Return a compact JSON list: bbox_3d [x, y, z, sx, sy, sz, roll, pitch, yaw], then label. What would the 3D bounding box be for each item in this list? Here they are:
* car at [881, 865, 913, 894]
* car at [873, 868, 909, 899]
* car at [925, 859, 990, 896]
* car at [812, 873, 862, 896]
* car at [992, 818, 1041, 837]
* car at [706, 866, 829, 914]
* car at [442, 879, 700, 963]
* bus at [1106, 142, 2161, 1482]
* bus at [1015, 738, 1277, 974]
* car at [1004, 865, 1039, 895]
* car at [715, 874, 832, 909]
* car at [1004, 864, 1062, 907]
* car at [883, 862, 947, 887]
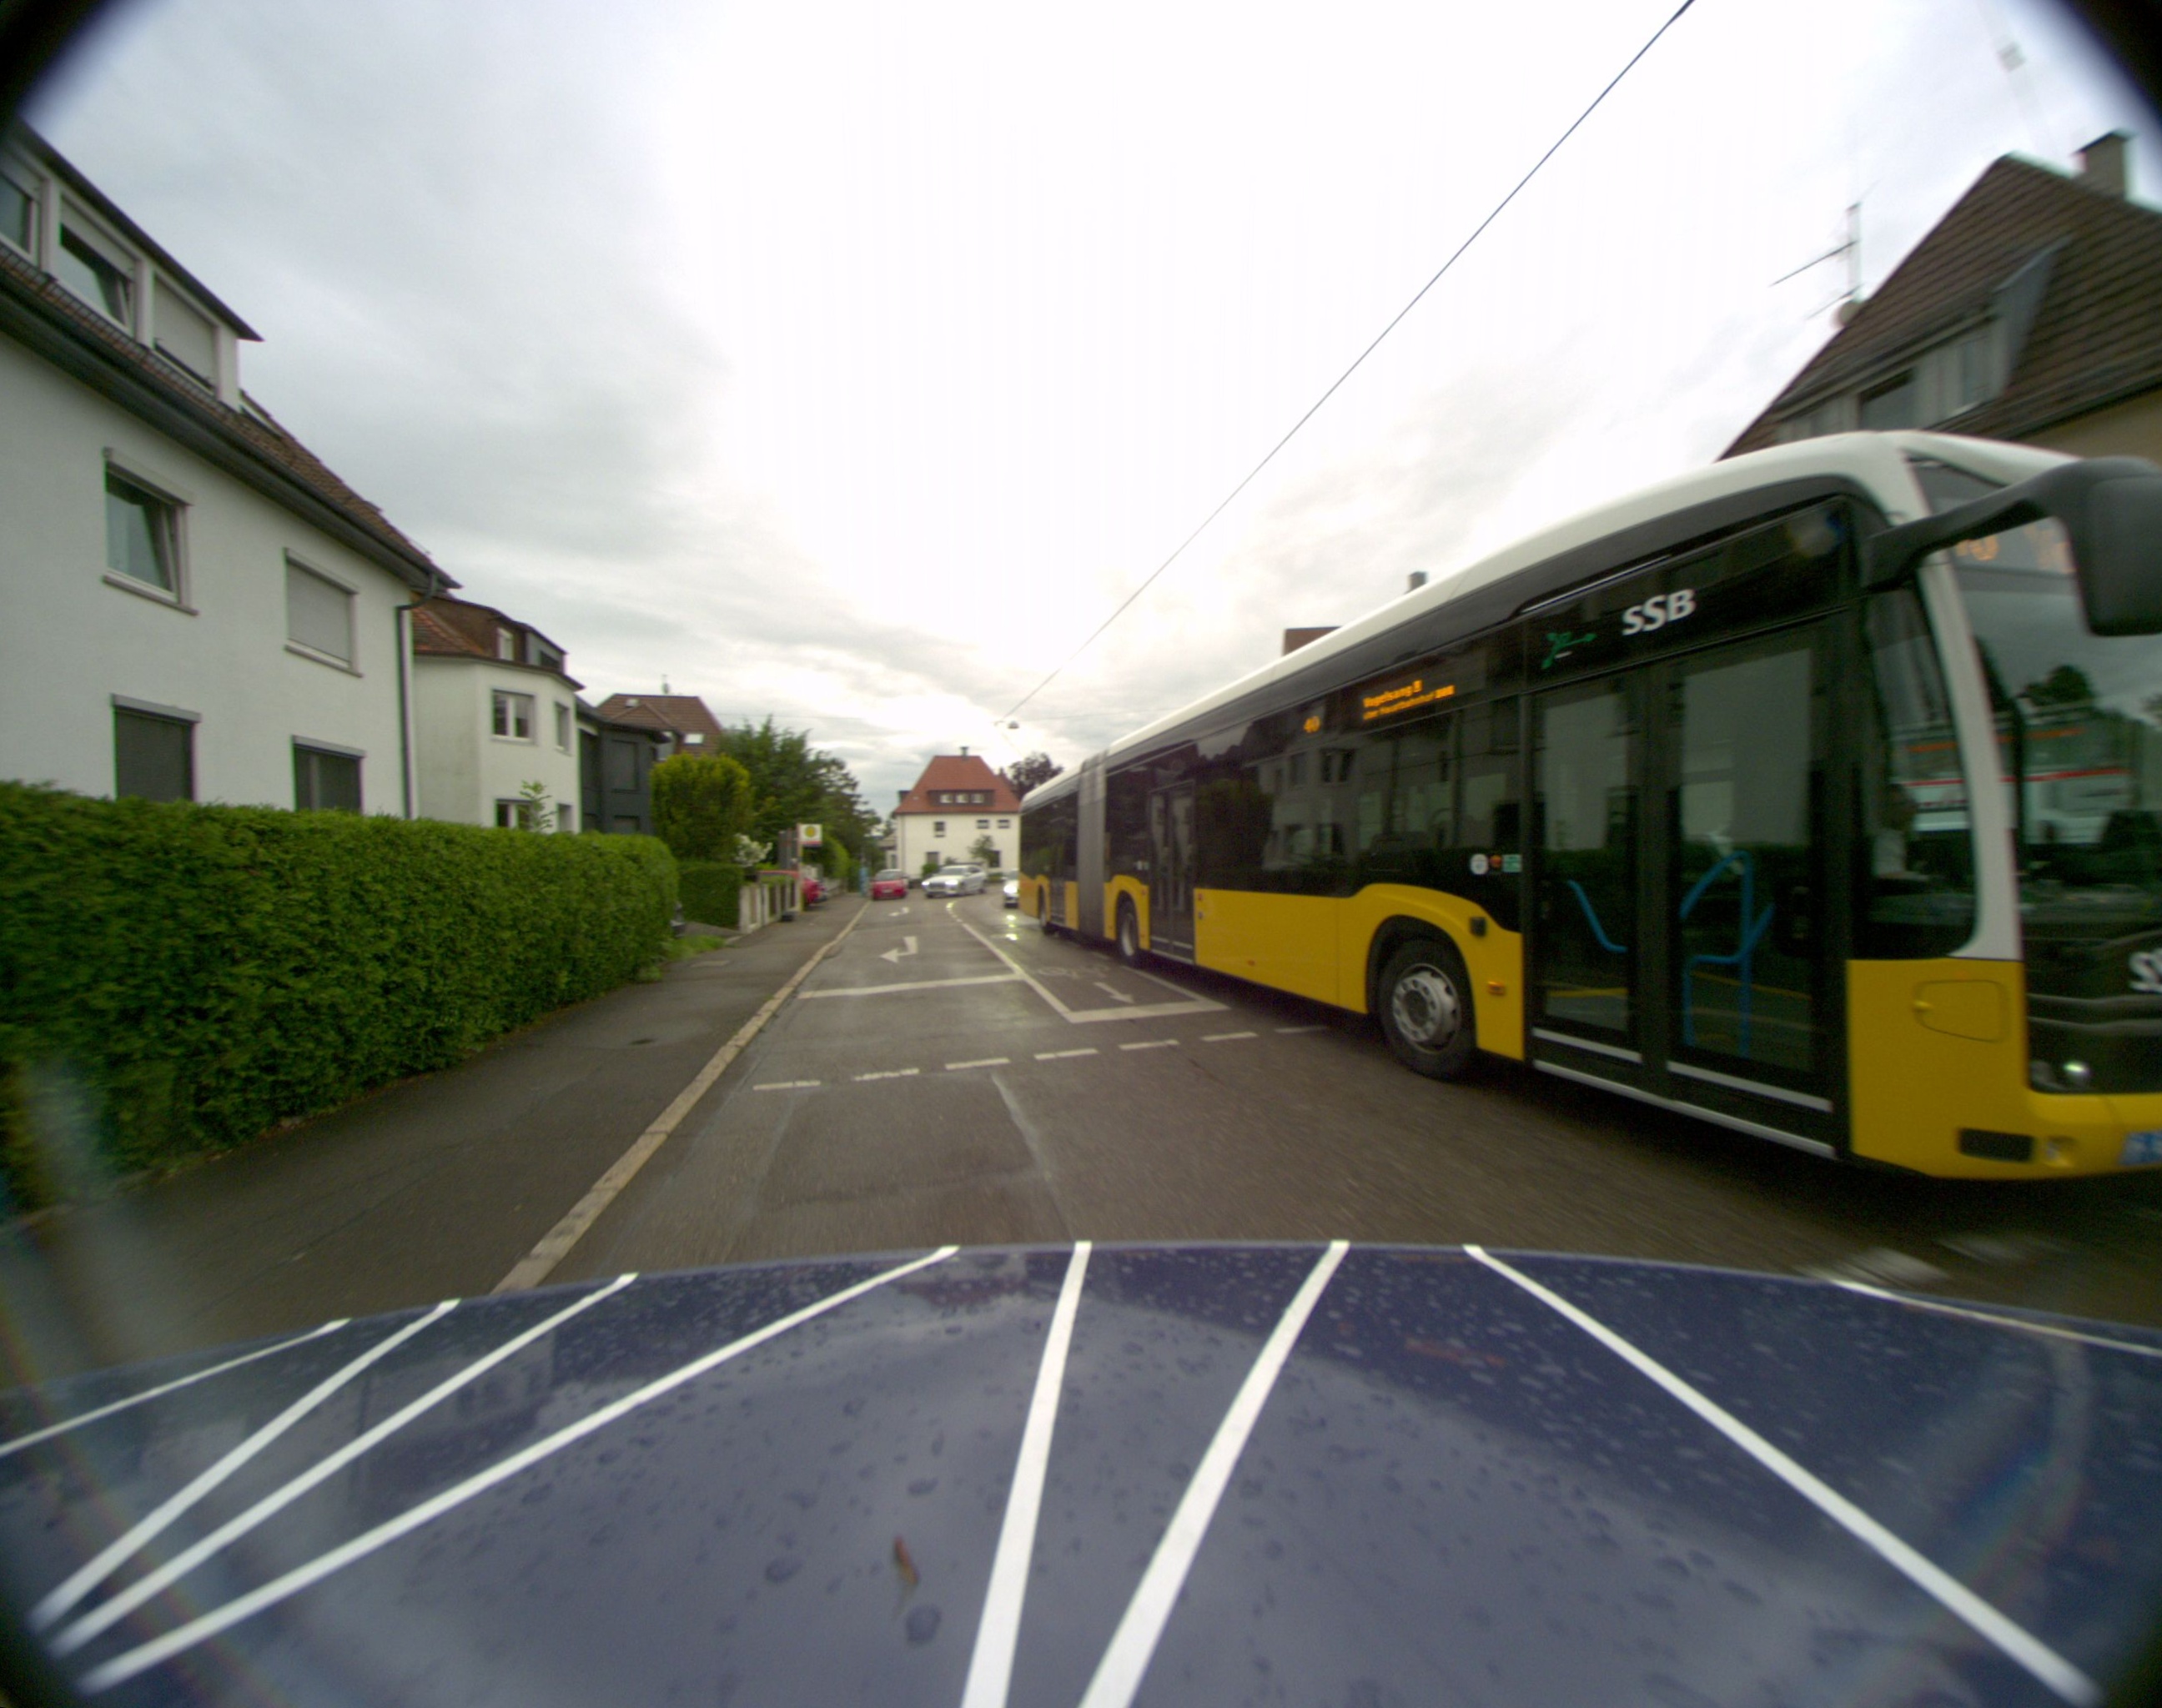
[{"bbox_3d":[-11.451,1.545,47.290,1.750,1.662,4.642,-3,0,-14],"label":"car"},{"bbox_3d":[-10.249,1.550,41.174,1.617,1.528,3.537,-3,0,-11],"label":"car"},{"bbox_3d":[-6.457,1.194,40.152,1.793,1.689,3.895,-3,0,17],"label":"car"},{"bbox_3d":[-21.570,2.687,67.267,4.001,1.849,1.769,-3,0,-14],"label":"car"},{"bbox_3d":[-6.696,-2.778,79.533,4.740,1.799,1.943,2,1,6],"label":"car"},{"bbox_3d":[-12.403,1.366,30.175,4.095,1.740,1.995,0,-1,-41],"label":"car"},{"bbox_3d":[-9.516,1.218,14.487,3.757,1.379,1.615,-1,-2,-14],"label":"car"},{"bbox_3d":[2.961,-0.043,6.620,2.911,3.378,9.029,-1,-1,-15],"label":"bus"},{"bbox_3d":[0.645,0.067,15.400,2.686,3.378,8.671,-1,-1,-13],"label":"bus"},{"bbox_3d":[-3.113,1.332,39.682,1.732,1.470,4.039,-1,-1,-5],"label":"car"},{"bbox_3d":[-13.259,1.592,33.058,4.566,1.408,1.997,0,-1,-19],"label":"car"},{"bbox_3d":[-1.905,1.158,28.984,2.000,1.470,4.484,-1,-1,-6],"label":"car"},{"bbox_3d":[-14.101,1.755,64.638,4.916,1.936,1.941,-1,1,7],"label":"car"}]
